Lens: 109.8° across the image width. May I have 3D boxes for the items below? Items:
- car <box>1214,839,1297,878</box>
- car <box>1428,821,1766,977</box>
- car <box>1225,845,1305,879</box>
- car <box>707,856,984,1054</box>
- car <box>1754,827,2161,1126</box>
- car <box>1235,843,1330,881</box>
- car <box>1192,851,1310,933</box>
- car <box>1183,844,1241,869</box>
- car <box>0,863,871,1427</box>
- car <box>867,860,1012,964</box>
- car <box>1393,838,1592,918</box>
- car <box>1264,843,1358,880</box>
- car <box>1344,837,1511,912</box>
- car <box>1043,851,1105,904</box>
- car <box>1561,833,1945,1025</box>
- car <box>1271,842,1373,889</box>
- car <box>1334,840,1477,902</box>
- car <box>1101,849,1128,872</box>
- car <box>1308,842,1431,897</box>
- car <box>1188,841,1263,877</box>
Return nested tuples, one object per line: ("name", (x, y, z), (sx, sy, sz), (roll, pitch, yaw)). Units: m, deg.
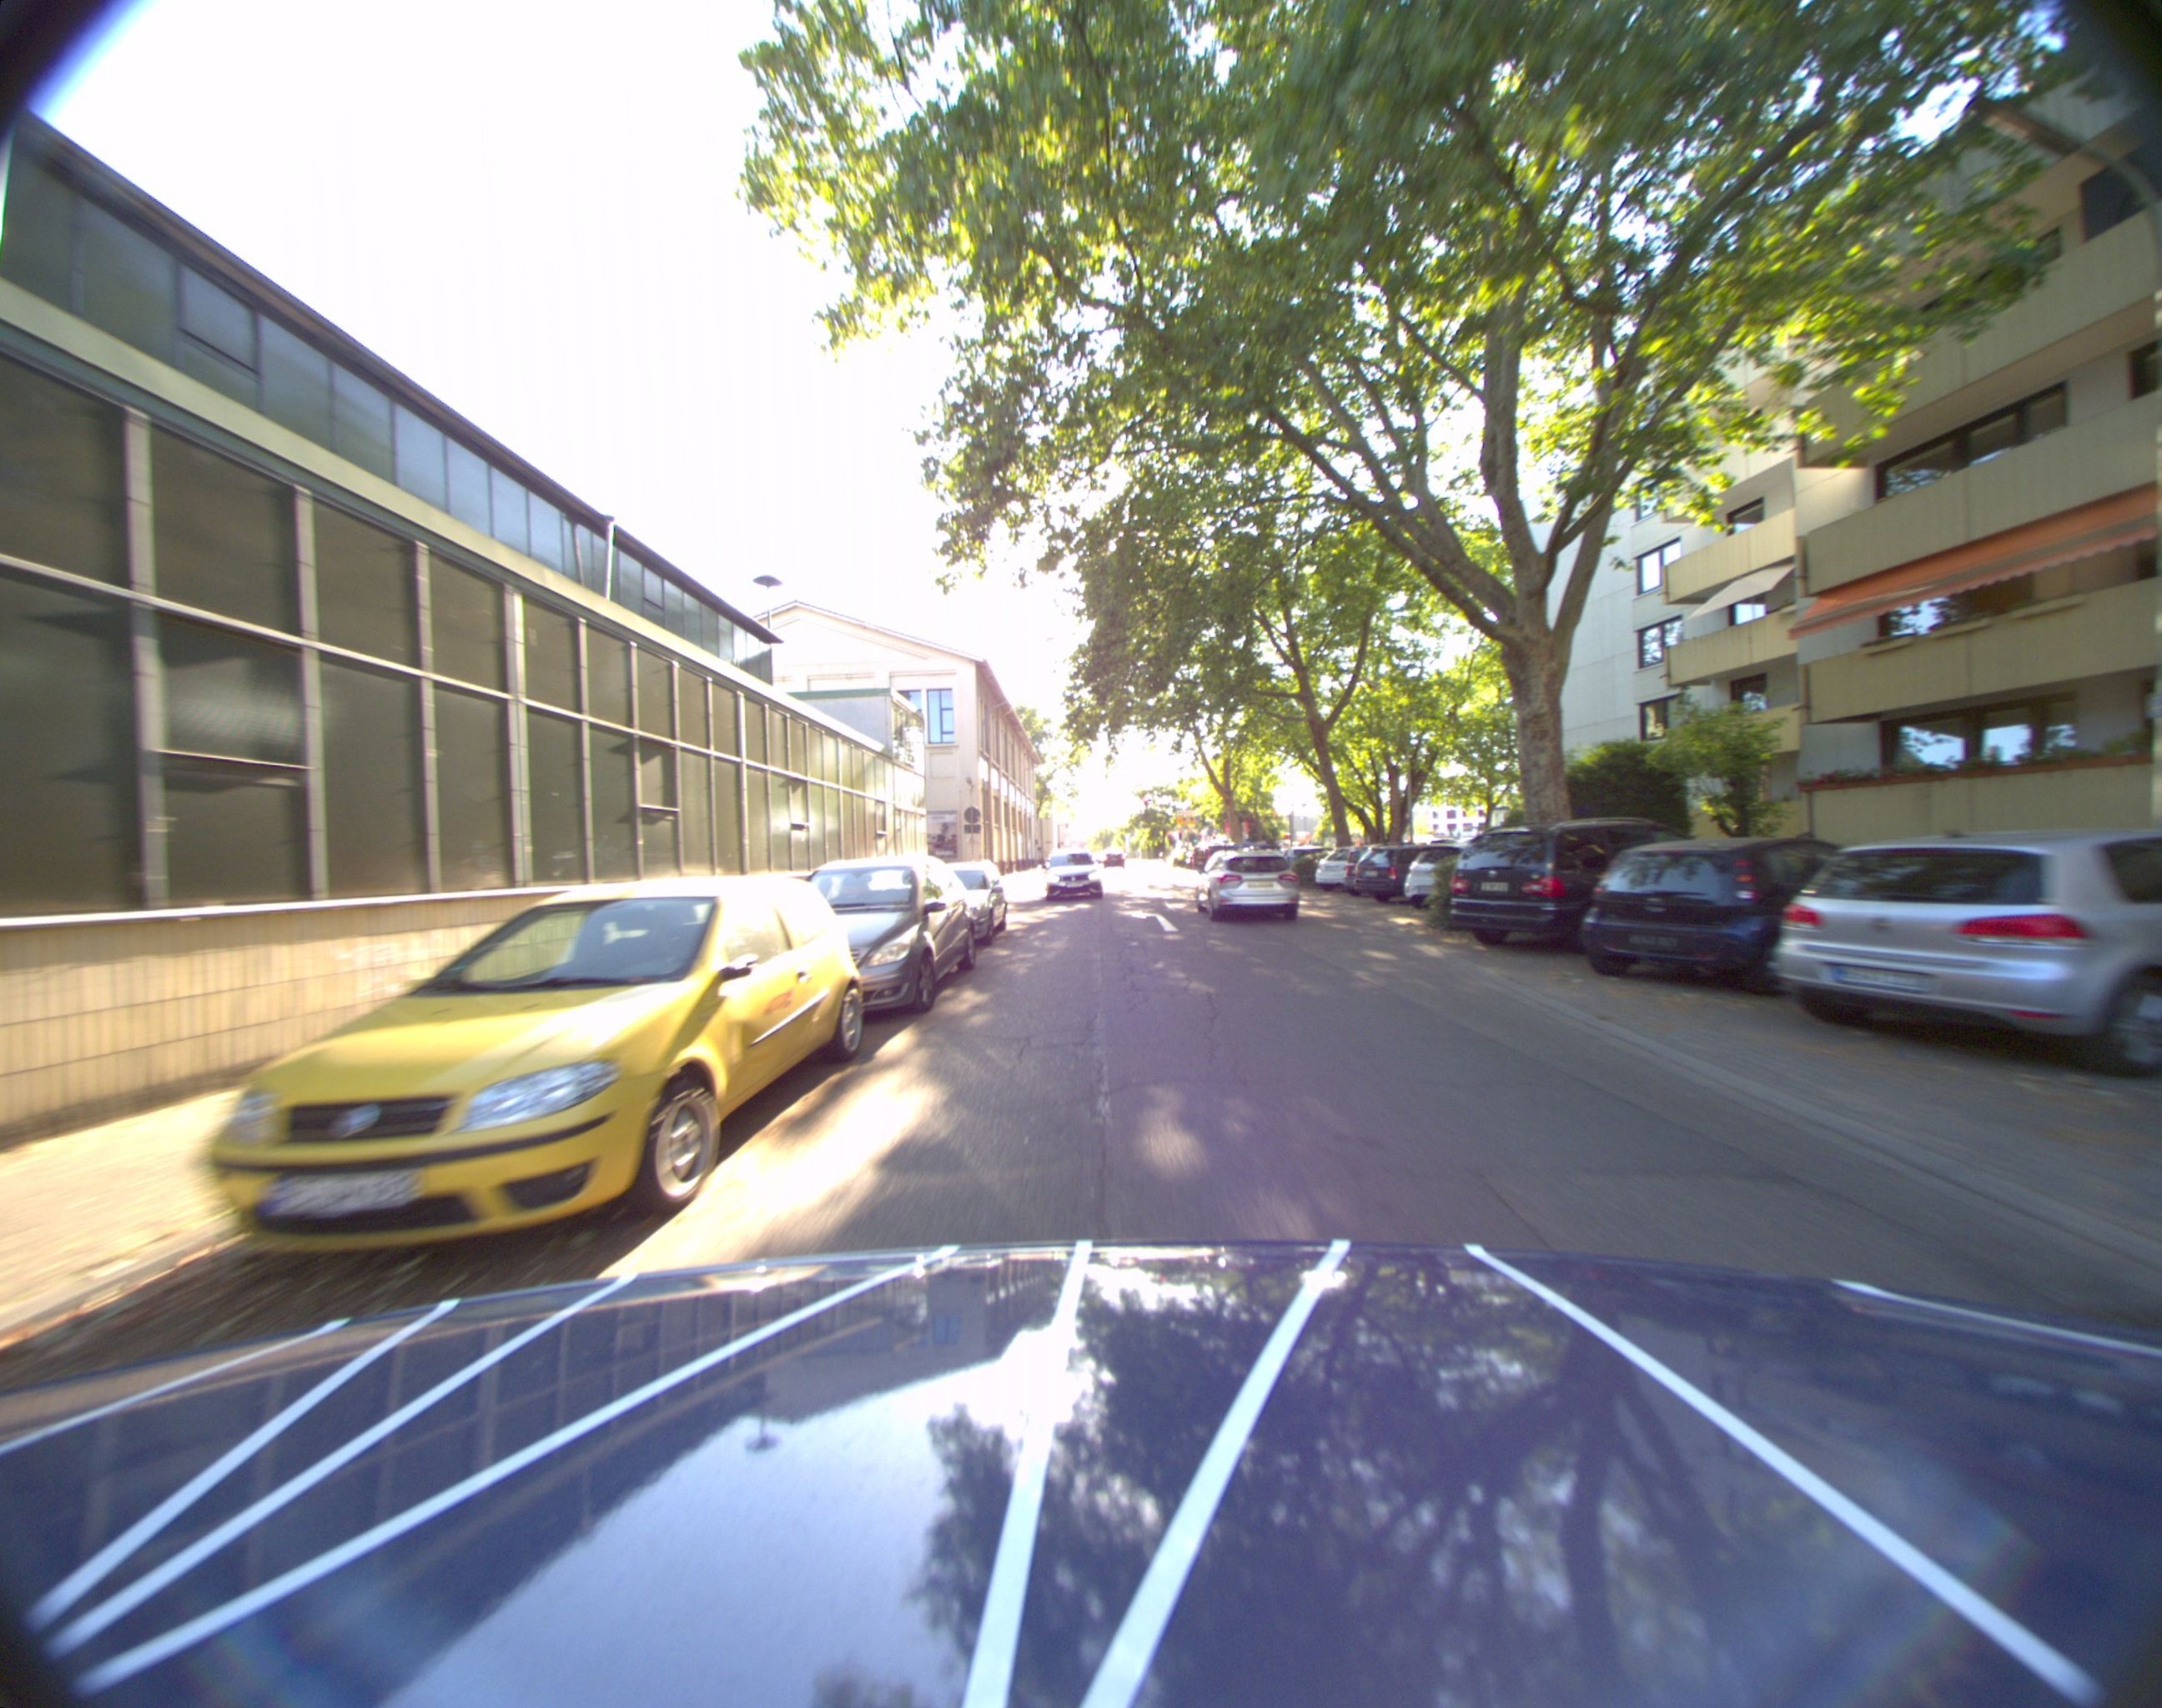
("car", (9.537, 0.231, 41.663), (4.002, 1.871, 1.831), (-3, 1, -15))
("car", (7.376, 0.520, 10.888), (4.273, 1.765, 1.902), (-3, 1, -22))
("car", (9.373, 0.390, 38.816), (3.602, 1.552, 1.647), (-3, 1, -17))
("car", (-2.359, 0.905, 8.890), (1.755, 1.625, 4.309), (-3, 1, 1))
("car", (7.140, 0.639, 5.334), (3.650, 1.552, 1.698), (-3, 1, -10))
("car", (9.663, 0.362, 36.470), (4.001, 1.615, 1.796), (-2, 1, -13))
("car", (3.616, 0.722, 16.985), (1.904, 1.527, 4.622), (1, 1, 4))
("car", (9.465, 0.191, 54.908), (4.006, 1.633, 1.713), (-3, 1, -33))
("car", (-2.664, 0.951, 4.420), (1.755, 1.625, 4.000), (-3, 1, -1))
("car", (-2.462, 0.943, 14.402), (1.905, 1.485, 4.528), (-3, 1, -1))
("car", (9.092, 0.499, 16.864), (3.663, 1.485, 1.774), (-3, 0, -17))
("car", (10.205, 0.317, 33.774), (3.653, 1.453, 1.703), (-3, 1, -20))
("car", (8.813, 0.476, 19.375), (3.652, 1.652, 1.647), (-3, 1, -17))
("car", (-0.261, 0.721, 25.651), (1.854, 1.527, 3.856), (-4, 1, -1))
("car", (7.208, 0.645, 8.153), (3.654, 1.552, 1.697), (-3, 1, -24))
("car", (9.552, 0.427, 30.159), (3.654, 1.652, 1.647), (-3, 1, -25))
("car", (9.538, 0.463, 22.389), (3.652, 1.552, 1.647), (-3, 1, -17))
("car", (2.578, 0.511, 59.441), (1.965, 1.633, 4.000), (-3, 1, 1))
("car", (9.547, 0.473, 25.127), (3.654, 1.552, 1.706), (-3, 1, -26))
("car", (8.404, 0.248, 44.230), (4.004, 1.876, 1.713), (-3, 1, -25))
